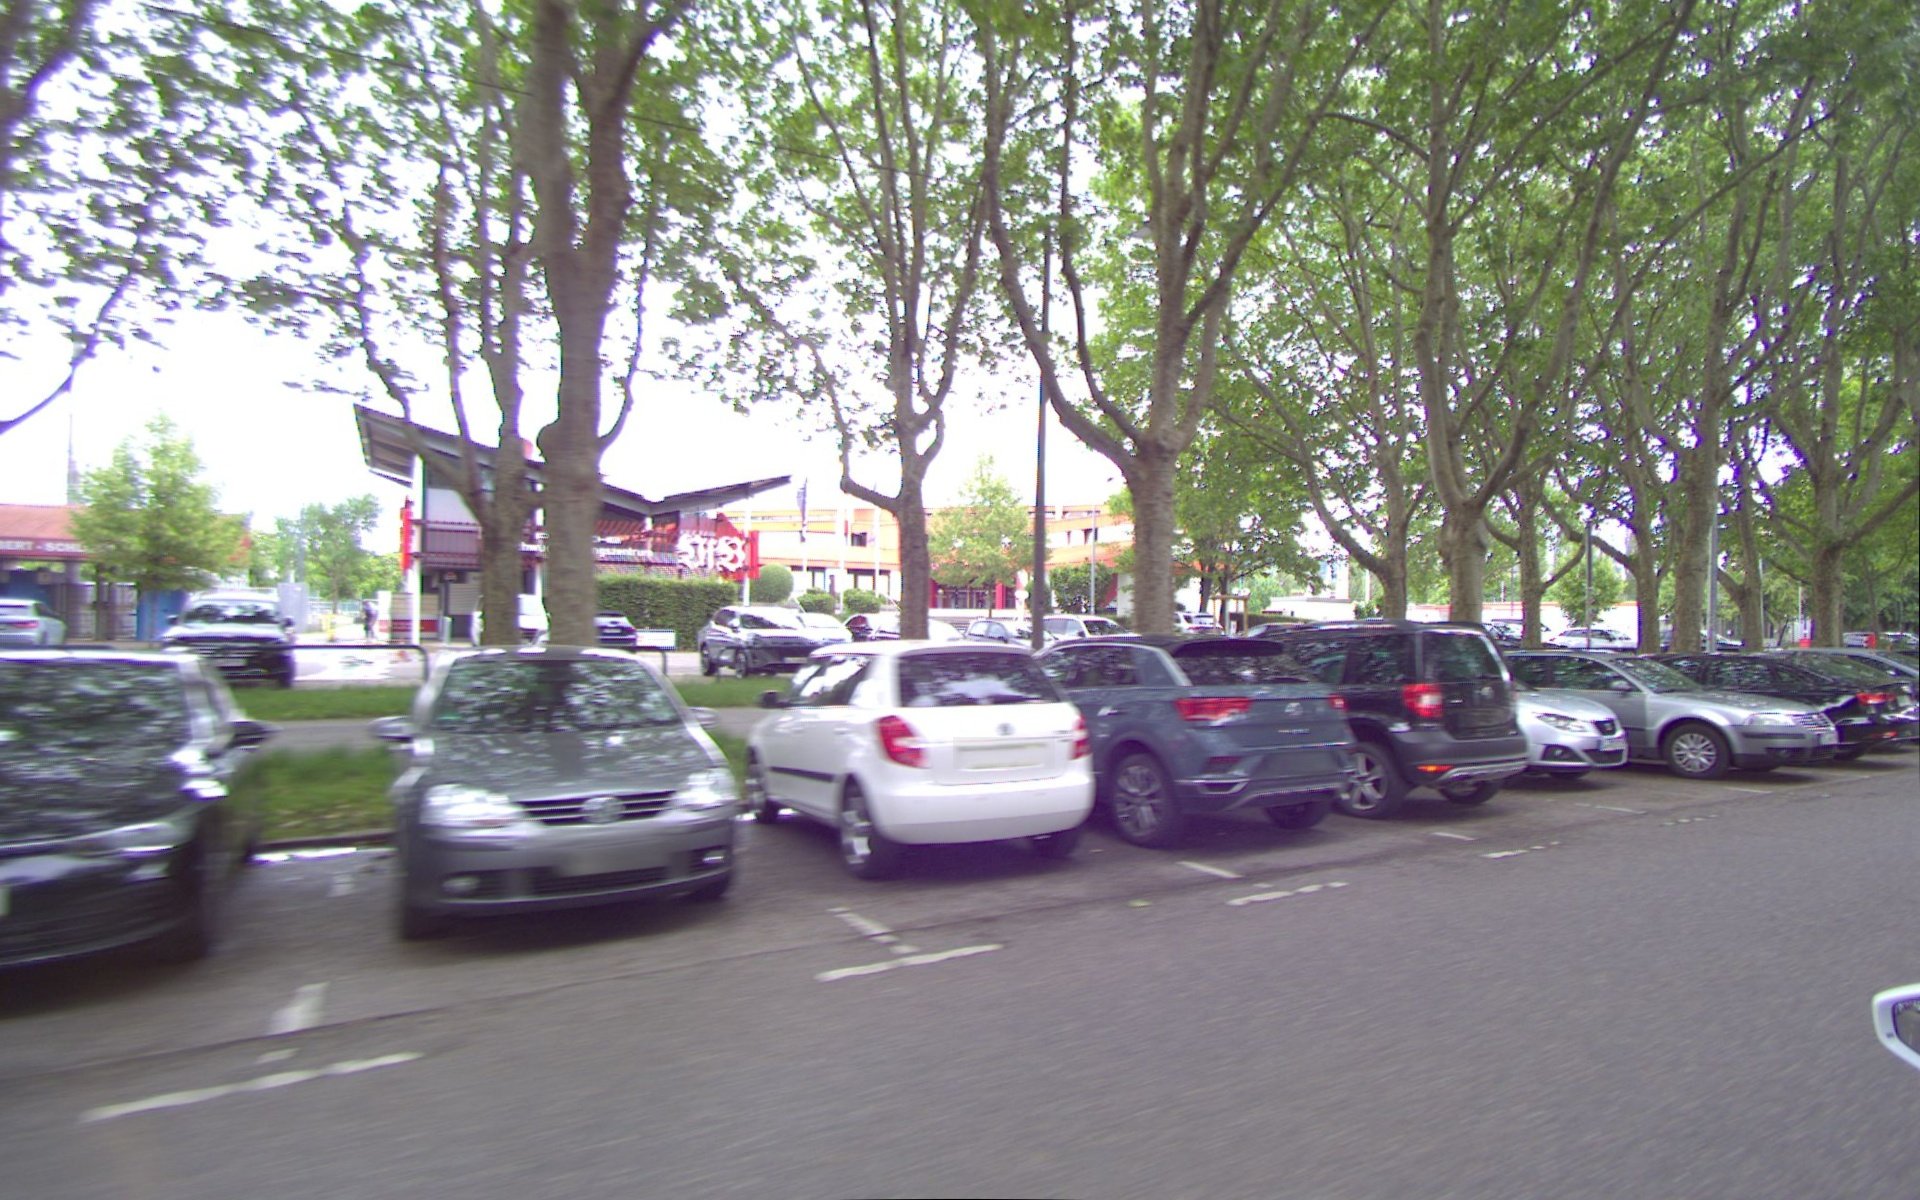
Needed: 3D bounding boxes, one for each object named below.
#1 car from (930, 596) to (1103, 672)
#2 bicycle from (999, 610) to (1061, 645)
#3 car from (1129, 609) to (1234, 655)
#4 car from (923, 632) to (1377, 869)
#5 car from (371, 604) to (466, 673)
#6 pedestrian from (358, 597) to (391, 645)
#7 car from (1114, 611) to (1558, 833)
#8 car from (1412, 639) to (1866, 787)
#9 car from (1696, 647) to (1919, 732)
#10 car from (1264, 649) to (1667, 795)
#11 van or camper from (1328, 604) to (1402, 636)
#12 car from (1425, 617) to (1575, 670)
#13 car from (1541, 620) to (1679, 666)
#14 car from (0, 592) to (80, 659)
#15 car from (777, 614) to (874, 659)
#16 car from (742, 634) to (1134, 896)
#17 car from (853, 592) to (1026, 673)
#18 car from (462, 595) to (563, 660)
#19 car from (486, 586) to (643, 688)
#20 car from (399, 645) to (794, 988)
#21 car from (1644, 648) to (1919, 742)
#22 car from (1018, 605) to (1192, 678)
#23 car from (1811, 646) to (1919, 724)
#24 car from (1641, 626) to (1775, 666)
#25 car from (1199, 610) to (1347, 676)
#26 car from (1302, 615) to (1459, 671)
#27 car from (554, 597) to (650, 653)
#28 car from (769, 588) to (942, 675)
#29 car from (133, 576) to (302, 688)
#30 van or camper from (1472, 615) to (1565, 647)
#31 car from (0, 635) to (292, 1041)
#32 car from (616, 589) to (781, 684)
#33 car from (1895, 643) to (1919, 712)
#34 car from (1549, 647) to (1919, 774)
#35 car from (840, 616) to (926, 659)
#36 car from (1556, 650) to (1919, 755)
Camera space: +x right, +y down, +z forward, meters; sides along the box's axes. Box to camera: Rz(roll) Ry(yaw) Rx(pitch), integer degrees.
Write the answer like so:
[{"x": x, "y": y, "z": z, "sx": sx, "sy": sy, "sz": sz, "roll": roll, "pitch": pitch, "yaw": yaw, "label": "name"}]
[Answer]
[{"x": 1.381, "y": 0.835, "z": 26.761, "sx": 2.159, "sy": 1.820, "sz": 4.915, "roll": 2, "pitch": -1, "yaw": -32, "label": "car"}, {"x": 3.294, "y": 1.286, "z": 47.363, "sx": 2.768, "sy": 1.560, "sz": 1.044, "roll": 2, "pitch": -1, "yaw": -30, "label": "bicycle"}, {"x": 9.763, "y": 1.367, "z": 44.613, "sx": 2.265, "sy": 1.880, "sz": 4.566, "roll": 2, "pitch": -1, "yaw": -24, "label": "car"}, {"x": 1.352, "y": 1.068, "z": 8.672, "sx": 1.708, "sy": 1.536, "sz": 3.912, "roll": 1, "pitch": -3, "yaw": -31, "label": "car"}, {"x": -15.962, "y": 1.064, "z": 29.492, "sx": 2.159, "sy": 1.820, "sz": 4.915, "roll": 2, "pitch": -1, "yaw": -32, "label": "car"}, {"x": -20.792, "y": 0.752, "z": 35.696, "sx": 0.976, "sy": 1.679, "sz": 0.835, "roll": 2, "pitch": -1, "yaw": -30, "label": "pedestrian"}, {"x": 3.460, "y": 1.040, "z": 9.983, "sx": 1.732, "sy": 1.730, "sz": 3.912, "roll": 1, "pitch": -3, "yaw": -31, "label": "car"}, {"x": 8.188, "y": 1.254, "z": 12.616, "sx": 1.683, "sy": 1.501, "sz": 4.442, "roll": 1, "pitch": -3, "yaw": -31, "label": "car"}, {"x": 16.230, "y": 1.547, "z": 18.075, "sx": 1.857, "sy": 1.387, "sz": 4.443, "roll": 1, "pitch": -3, "yaw": -30, "label": "car"}, {"x": 5.736, "y": 1.285, "z": 11.893, "sx": 1.806, "sy": 1.382, "sz": 3.912, "roll": 1, "pitch": -3, "yaw": -31, "label": "car"}, {"x": 28.316, "y": 1.394, "z": 70.175, "sx": 5.242, "sy": 2.040, "sz": 1.983, "roll": 2, "pitch": -1, "yaw": -31, "label": "van or camper"}, {"x": 20.357, "y": 1.601, "z": 38.032, "sx": 2.270, "sy": 1.785, "sz": 4.496, "roll": 2, "pitch": -1, "yaw": -30, "label": "car"}, {"x": 26.845, "y": 1.747, "z": 41.623, "sx": 2.107, "sy": 1.732, "sz": 4.300, "roll": 2, "pitch": -1, "yaw": -30, "label": "car"}, {"x": -23.761, "y": 0.597, "z": 25.197, "sx": 1.979, "sy": 1.571, "sz": 3.995, "roll": 2, "pitch": -1, "yaw": -33, "label": "car"}, {"x": -4.812, "y": 1.266, "z": 35.477, "sx": 1.977, "sy": 1.446, "sz": 3.966, "roll": 2, "pitch": -1, "yaw": -31, "label": "car"}, {"x": -0.460, "y": 1.042, "z": 7.984, "sx": 1.680, "sy": 1.505, "sz": 3.983, "roll": 1, "pitch": -2, "yaw": -25, "label": "car"}, {"x": -0.650, "y": 0.758, "z": 25.259, "sx": 2.159, "sy": 1.820, "sz": 4.915, "roll": 2, "pitch": -1, "yaw": -32, "label": "car"}, {"x": -13.765, "y": 0.797, "z": 30.712, "sx": 2.159, "sy": 1.820, "sz": 4.915, "roll": 2, "pitch": -1, "yaw": -32, "label": "car"}, {"x": -8.269, "y": 0.685, "z": 20.704, "sx": 2.159, "sy": 1.820, "sz": 4.915, "roll": 2, "pitch": -1, "yaw": -32, "label": "car"}, {"x": -2.575, "y": 1.018, "z": 6.437, "sx": 1.683, "sy": 1.439, "sz": 3.974, "roll": 1, "pitch": -3, "yaw": -31, "label": "car"}, {"x": 14.410, "y": 1.507, "z": 16.888, "sx": 1.877, "sy": 1.365, "sz": 4.447, "roll": 1, "pitch": -3, "yaw": -28, "label": "car"}, {"x": 3.896, "y": 1.080, "z": 27.899, "sx": 2.159, "sy": 1.820, "sz": 4.915, "roll": 1, "pitch": -1, "yaw": -32, "label": "car"}, {"x": 18.615, "y": 1.560, "z": 18.617, "sx": 1.732, "sy": 1.439, "sz": 3.966, "roll": 1, "pitch": -3, "yaw": -26, "label": "car"}, {"x": 33.286, "y": 2.020, "z": 44.831, "sx": 2.178, "sy": 1.569, "sz": 4.300, "roll": 2, "pitch": -1, "yaw": -30, "label": "car"}, {"x": 9.884, "y": 1.318, "z": 32.036, "sx": 2.005, "sy": 1.885, "sz": 4.300, "roll": 2, "pitch": -1, "yaw": -30, "label": "car"}, {"x": 14.393, "y": 1.436, "z": 34.623, "sx": 2.270, "sy": 1.748, "sz": 4.530, "roll": 2, "pitch": -1, "yaw": -30, "label": "car"}, {"x": -11.446, "y": 0.771, "z": 31.947, "sx": 1.979, "sy": 1.647, "sz": 3.963, "roll": 2, "pitch": -1, "yaw": -33, "label": "car"}, {"x": -2.608, "y": 0.684, "z": 23.835, "sx": 2.159, "sy": 1.820, "sz": 4.915, "roll": 2, "pitch": -1, "yaw": -32, "label": "car"}, {"x": -13.098, "y": 0.612, "z": 17.998, "sx": 1.978, "sy": 1.743, "sz": 4.529, "roll": 2, "pitch": -3, "yaw": -31, "label": "car"}, {"x": 32.747, "y": 1.801, "z": 59.009, "sx": 2.107, "sy": 1.732, "sz": 4.300, "roll": 2, "pitch": -1, "yaw": -30, "label": "van or camper"}, {"x": -4.816, "y": 0.955, "z": 5.375, "sx": 1.823, "sy": 1.387, "sz": 3.967, "roll": 2, "pitch": -1, "yaw": -31, "label": "car"}, {"x": -5.850, "y": 0.742, "z": 21.978, "sx": 2.159, "sy": 1.820, "sz": 4.915, "roll": 1, "pitch": -1, "yaw": -32, "label": "car"}, {"x": 22.696, "y": 1.670, "z": 21.480, "sx": 1.750, "sy": 1.491, "sz": 3.751, "roll": 2, "pitch": -3, "yaw": -40, "label": "car"}, {"x": 10.415, "y": 1.355, "z": 13.581, "sx": 1.683, "sy": 1.416, "sz": 3.912, "roll": 1, "pitch": -3, "yaw": -31, "label": "car"}, {"x": -2.871, "y": 1.344, "z": 36.522, "sx": 1.489, "sy": 1.390, "sz": 3.966, "roll": 2, "pitch": -1, "yaw": -31, "label": "car"}, {"x": 12.143, "y": 1.496, "z": 15.777, "sx": 1.838, "sy": 1.384, "sz": 4.442, "roll": 1, "pitch": -3, "yaw": -31, "label": "car"}]
